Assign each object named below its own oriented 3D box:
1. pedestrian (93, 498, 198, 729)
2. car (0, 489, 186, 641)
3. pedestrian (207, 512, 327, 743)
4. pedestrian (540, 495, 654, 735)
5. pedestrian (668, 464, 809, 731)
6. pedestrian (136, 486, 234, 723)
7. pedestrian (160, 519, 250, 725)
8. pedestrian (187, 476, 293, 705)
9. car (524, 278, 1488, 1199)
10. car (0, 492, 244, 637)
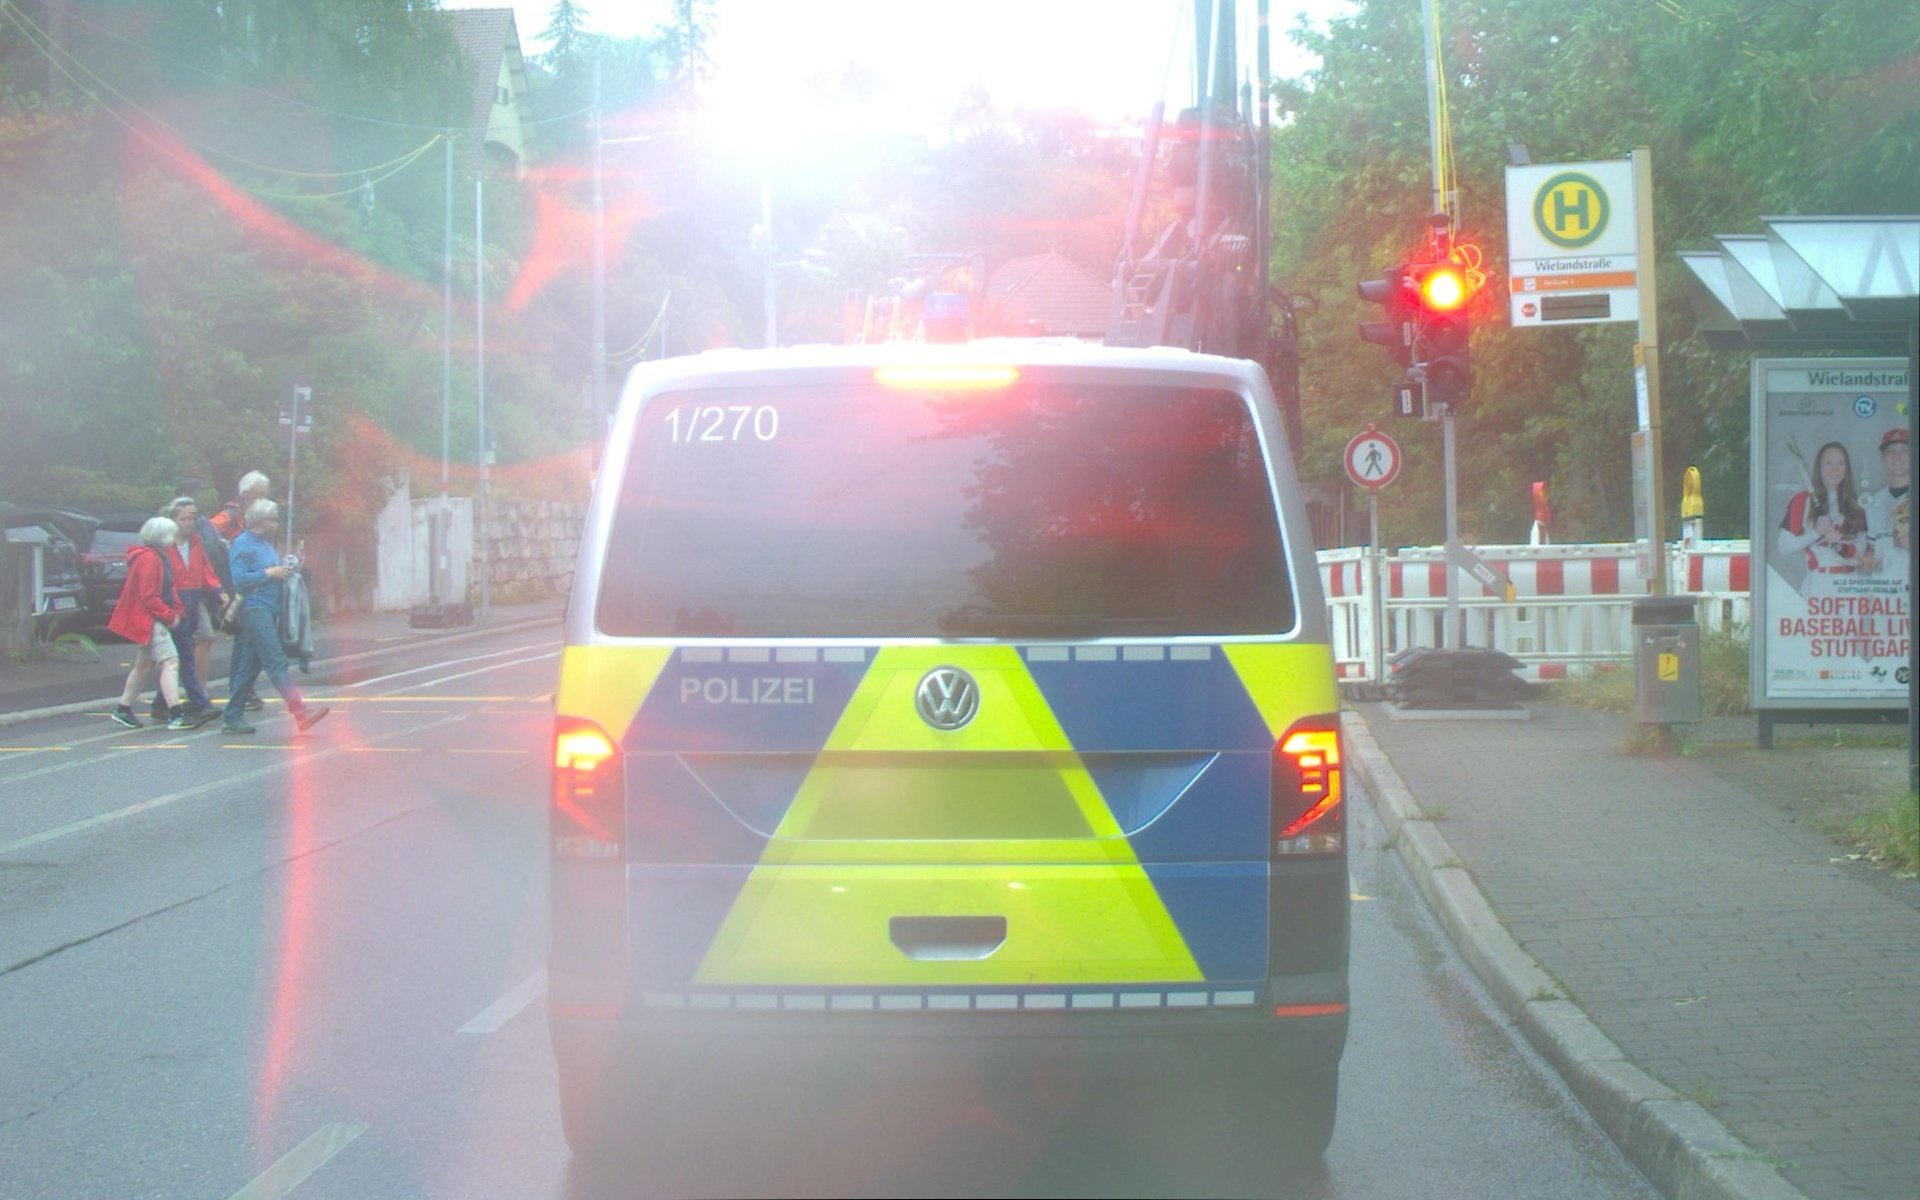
[{"bbox_3d":[-5.654,0.096,23.872,0.563,1.577,0.468,1,-1,2],"label":"pedestrian"},{"bbox_3d":[-10.220,-0.376,35.381,3.989,1.481,1.759,1,-1,11],"label":"car"},{"bbox_3d":[-4.636,0.185,23.021,0.626,1.517,0.593,1,-1,2],"label":"pedestrian"},{"bbox_3d":[-2.464,0.105,23.404,0.686,1.598,0.606,1,-1,-1],"label":"pedestrian"},{"bbox_3d":[-1.512,-0.011,23.612,0.889,1.781,0.828,1,-1,-1],"label":"pedestrian"},{"bbox_3d":[-5.527,0.035,24.525,0.549,1.662,0.414,1,-1,2],"label":"pedestrian"},{"bbox_3d":[-5.591,0.167,25.472,0.525,1.502,0.429,1,-1,2],"label":"pedestrian"},{"bbox_3d":[-5.485,-0.068,26.219,0.626,1.709,0.593,1,-1,2],"label":"pedestrian"},{"bbox_3d":[0.158,0.283,9.349,1.993,2.007,4.402,0,1,2],"label":"car"},{"bbox_3d":[-10.056,-0.392,37.530,3.989,1.481,1.759,1,-1,11],"label":"car"}]
